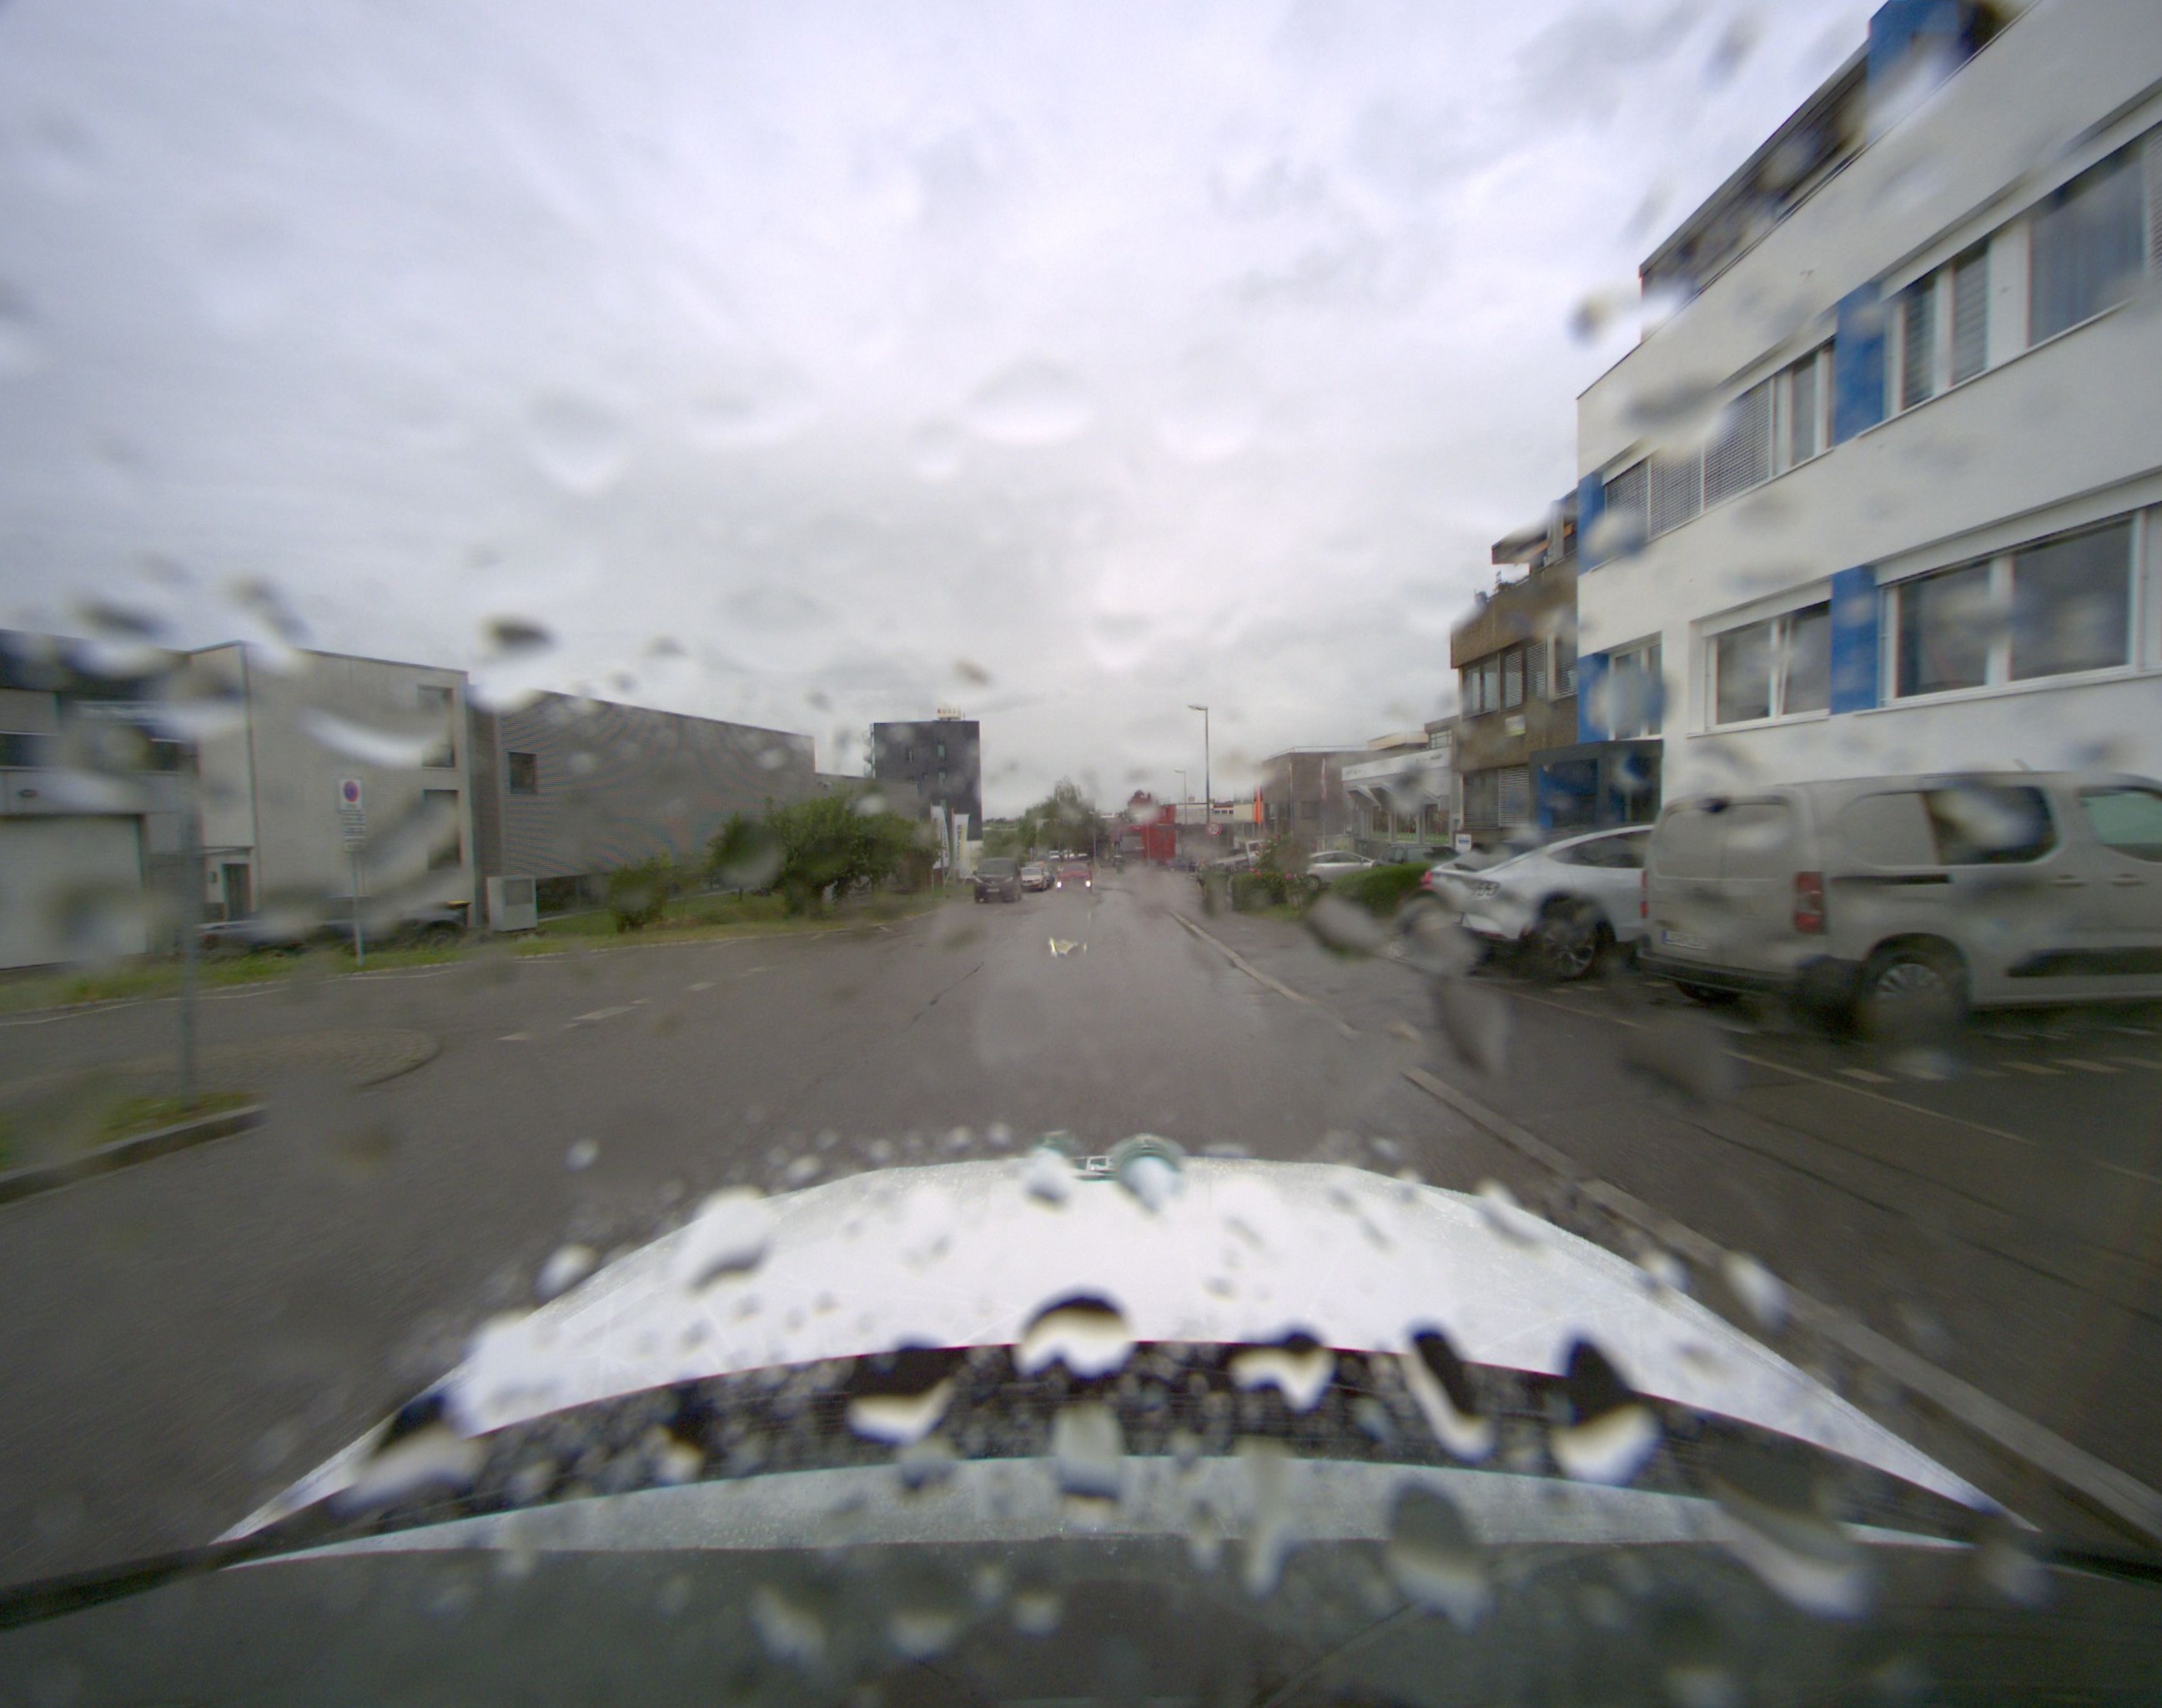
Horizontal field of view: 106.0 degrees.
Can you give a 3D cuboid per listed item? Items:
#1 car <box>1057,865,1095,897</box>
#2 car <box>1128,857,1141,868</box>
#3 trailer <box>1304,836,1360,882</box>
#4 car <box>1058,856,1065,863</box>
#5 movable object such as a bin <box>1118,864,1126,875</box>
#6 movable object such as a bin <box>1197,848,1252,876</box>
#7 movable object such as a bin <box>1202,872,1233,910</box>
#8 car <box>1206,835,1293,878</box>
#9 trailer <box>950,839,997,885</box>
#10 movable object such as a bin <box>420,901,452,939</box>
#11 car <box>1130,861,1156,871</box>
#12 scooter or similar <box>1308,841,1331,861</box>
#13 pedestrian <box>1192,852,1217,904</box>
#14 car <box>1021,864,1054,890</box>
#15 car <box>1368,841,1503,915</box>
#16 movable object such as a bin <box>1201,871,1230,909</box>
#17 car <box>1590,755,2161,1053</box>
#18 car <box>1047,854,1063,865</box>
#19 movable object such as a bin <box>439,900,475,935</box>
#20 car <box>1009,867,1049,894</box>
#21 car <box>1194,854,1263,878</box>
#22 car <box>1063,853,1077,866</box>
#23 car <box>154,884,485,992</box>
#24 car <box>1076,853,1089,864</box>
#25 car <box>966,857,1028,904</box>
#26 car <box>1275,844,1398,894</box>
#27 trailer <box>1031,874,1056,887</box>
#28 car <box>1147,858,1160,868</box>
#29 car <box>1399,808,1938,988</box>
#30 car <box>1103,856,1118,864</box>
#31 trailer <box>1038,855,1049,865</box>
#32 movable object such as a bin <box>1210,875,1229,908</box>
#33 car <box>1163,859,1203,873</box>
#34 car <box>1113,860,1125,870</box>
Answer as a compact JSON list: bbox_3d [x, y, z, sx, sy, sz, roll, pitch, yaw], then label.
[{"bbox_3d":[-0.235,1.398,42.654,1.741,1.508,3.936,-4,-2,2],"label":"car"},{"bbox_3d":[8.322,1.393,127.765,1.733,1.653,4.000,-2,-1,0],"label":"car"},{"bbox_3d":[14.030,0.232,45.813,1.879,2.416,4.311,-2,0,2],"label":"trailer"},{"bbox_3d":[-4.011,1.091,167.629,1.288,1.424,2.541,-2,-1,-6],"label":"car"},{"bbox_3d":[4.359,1.635,86.650,0.805,1.092,0.708,-2,0,-5],"label":"movable object such as a bin"},{"bbox_3d":[11.879,0.657,67.358,4.239,2.110,1.477,-3,-1,1],"label":"movable object such as a bin"},{"bbox_3d":[3.867,1.038,23.111,0.768,1.030,0.808,-2,-1,2],"label":"movable object such as a bin"},{"bbox_3d":[11.562,0.177,56.192,5.282,2.013,2.222,-10,-1,0],"label":"car"},{"bbox_3d":[-10.295,0.819,77.830,4.132,4.203,2.019,-3,-1,39],"label":"trailer"},{"bbox_3d":[-20.878,2.131,26.354,0.550,1.166,0.571,-3,0,27],"label":"movable object such as a bin"},{"bbox_3d":[8.243,1.600,109.254,3.387,1.163,1.793,-2,0,2],"label":"car"},{"bbox_3d":[16.774,-0.217,57.365,1.060,1.224,2.067,-6,1,4],"label":"scooter or similar"},{"bbox_3d":[4.281,0.817,28.376,0.734,1.767,0.809,-2,-1,2],"label":"pedestrian"},{"bbox_3d":[-2.948,1.555,55.953,1.951,1.577,4.838,-3,-1,-1],"label":"car"},{"bbox_3d":[9.534,0.636,22.331,1.742,1.750,4.474,-2,-1,1],"label":"car"},{"bbox_3d":[3.933,1.054,23.845,0.740,1.067,0.637,-2,-1,2],"label":"movable object such as a bin"},{"bbox_3d":[6.700,0.277,6.192,4.328,1.773,2.088,-2,-1,-1],"label":"car"},{"bbox_3d":[-5.242,1.014,161.598,2.269,2.014,3.979,-2,-1,-15],"label":"car"},{"bbox_3d":[-20.644,2.099,26.943,0.629,1.096,0.678,-3,0,27],"label":"movable object such as a bin"},{"bbox_3d":[-3.114,1.563,49.574,1.949,1.461,5.248,-2,-1,1],"label":"car"},{"bbox_3d":[11.795,0.951,65.342,5.075,1.613,1.925,-3,0,0],"label":"car"},{"bbox_3d":[-2.232,1.099,162.031,2.191,2.459,3.989,-2,-1,-8],"label":"car"},{"bbox_3d":[-18.835,1.931,20.614,2.109,1.921,5.643,-1,2,24],"label":"car"},{"bbox_3d":[0.202,0.844,163.024,2.143,2.014,3.931,-2,-1,-6],"label":"car"},{"bbox_3d":[-3.521,1.086,34.939,1.908,1.831,4.850,-2,-1,2],"label":"car"},{"bbox_3d":[9.919,0.586,31.827,4.107,1.574,2.003,-4,-1,0],"label":"car"},{"bbox_3d":[-2.753,1.956,60.326,1.675,0.888,3.896,-2,-1,0],"label":"trailer"},{"bbox_3d":[11.275,1.437,126.763,1.723,1.422,4.000,-2,-1,0],"label":"car"},{"bbox_3d":[6.337,0.452,9.263,4.582,1.538,2.079,-4,-1,0],"label":"car"},{"bbox_3d":[5.346,1.072,149.210,2.543,1.352,1.240,-2,0,-5],"label":"car"},{"bbox_3d":[-7.667,1.202,165.601,1.851,2.013,3.990,-2,0,-7],"label":"trailer"},{"bbox_3d":[4.192,1.131,24.709,0.470,0.967,0.514,-2,-1,2],"label":"movable object such as a bin"},{"bbox_3d":[10.303,1.263,82.337,3.882,1.384,1.820,0,-1,-1],"label":"car"},{"bbox_3d":[5.874,1.727,127.078,1.691,1.475,4.000,-2,-1,0],"label":"car"}]
